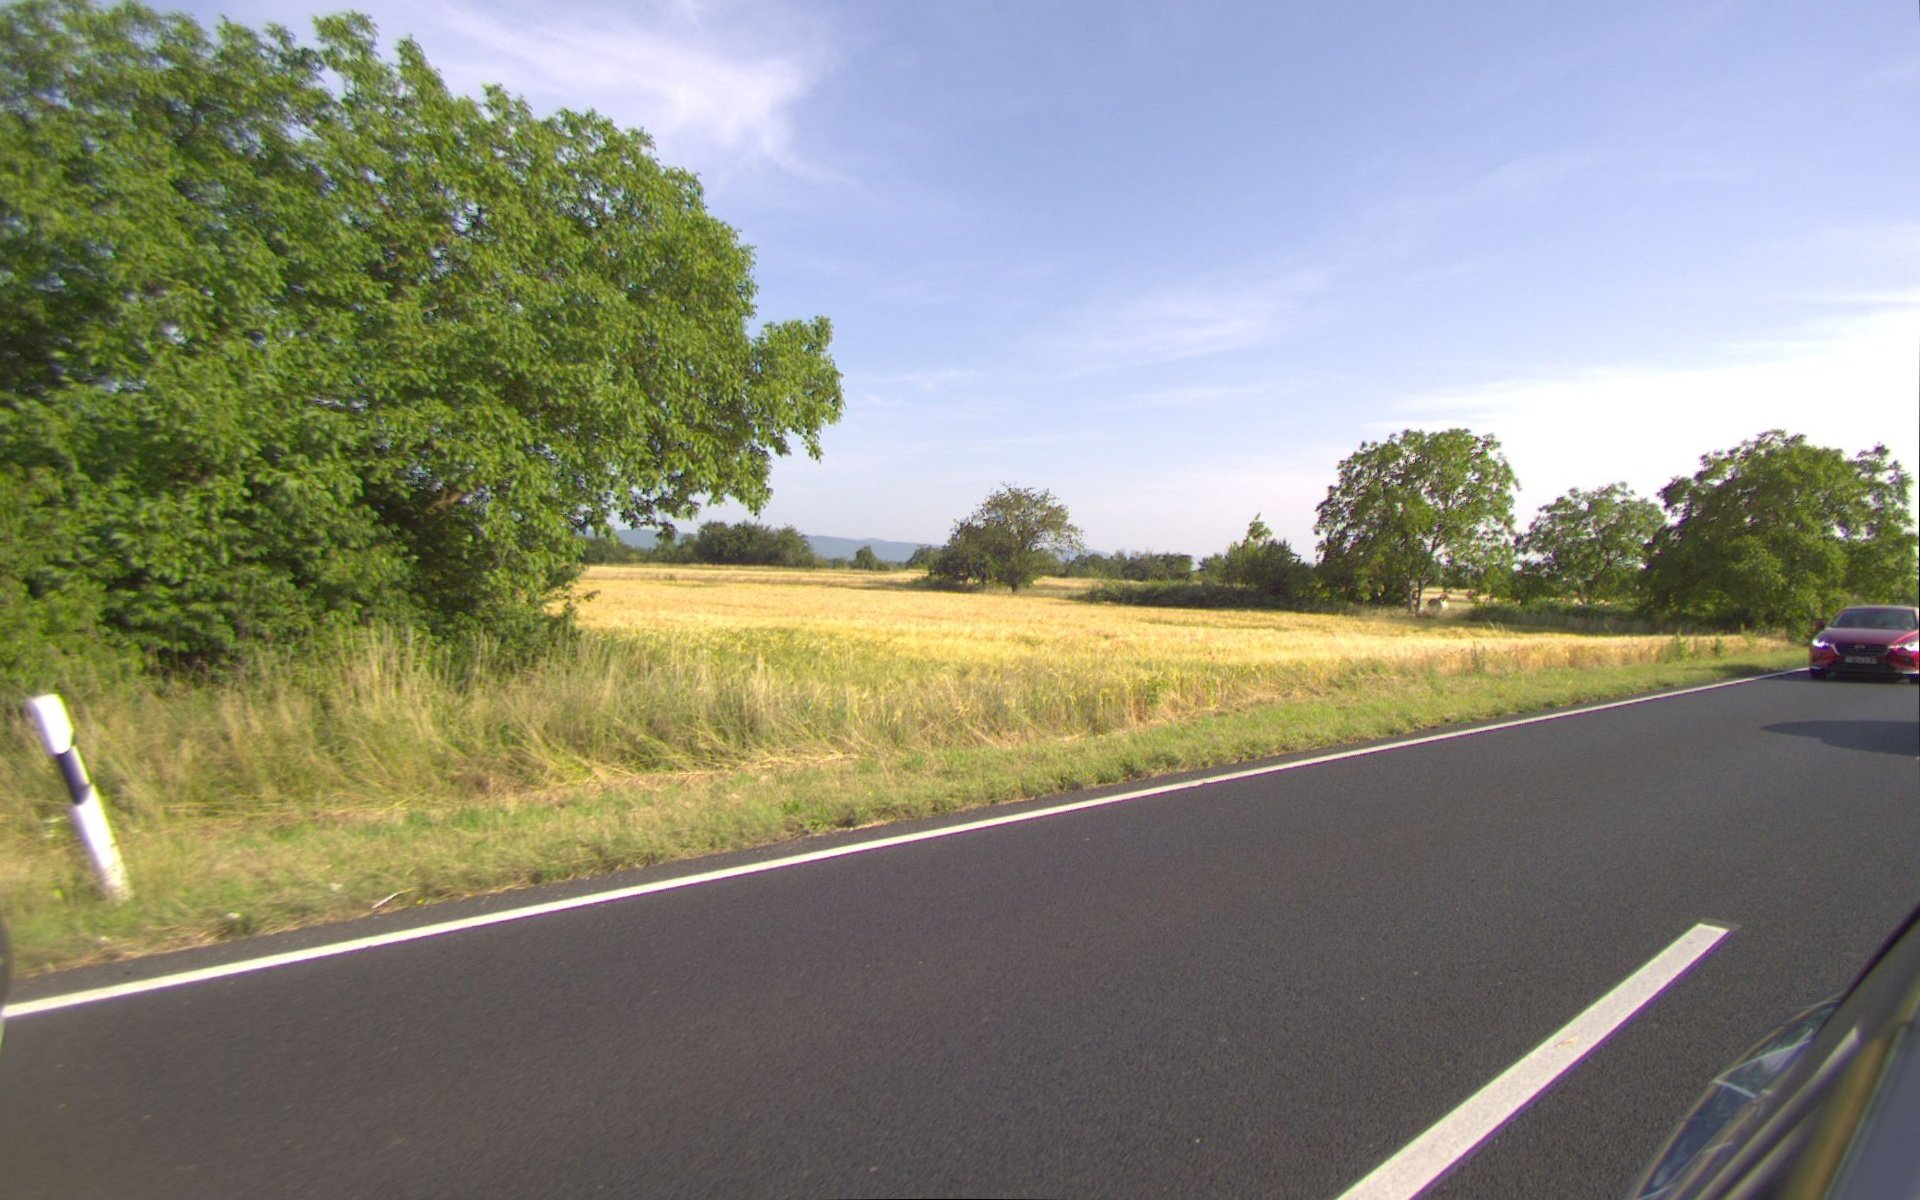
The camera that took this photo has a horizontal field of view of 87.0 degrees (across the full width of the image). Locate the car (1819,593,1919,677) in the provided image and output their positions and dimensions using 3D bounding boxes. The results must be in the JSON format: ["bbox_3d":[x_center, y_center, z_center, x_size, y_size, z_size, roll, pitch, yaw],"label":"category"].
[{"bbox_3d":[19.171,0.639,20.798,4.423,1.524,1.707,-1,1,-41],"label":"car"}]

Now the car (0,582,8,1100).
[{"bbox_3d":[-3.754,0.685,1.098,3.883,1.404,1.620,-1,1,-41],"label":"car"}]
